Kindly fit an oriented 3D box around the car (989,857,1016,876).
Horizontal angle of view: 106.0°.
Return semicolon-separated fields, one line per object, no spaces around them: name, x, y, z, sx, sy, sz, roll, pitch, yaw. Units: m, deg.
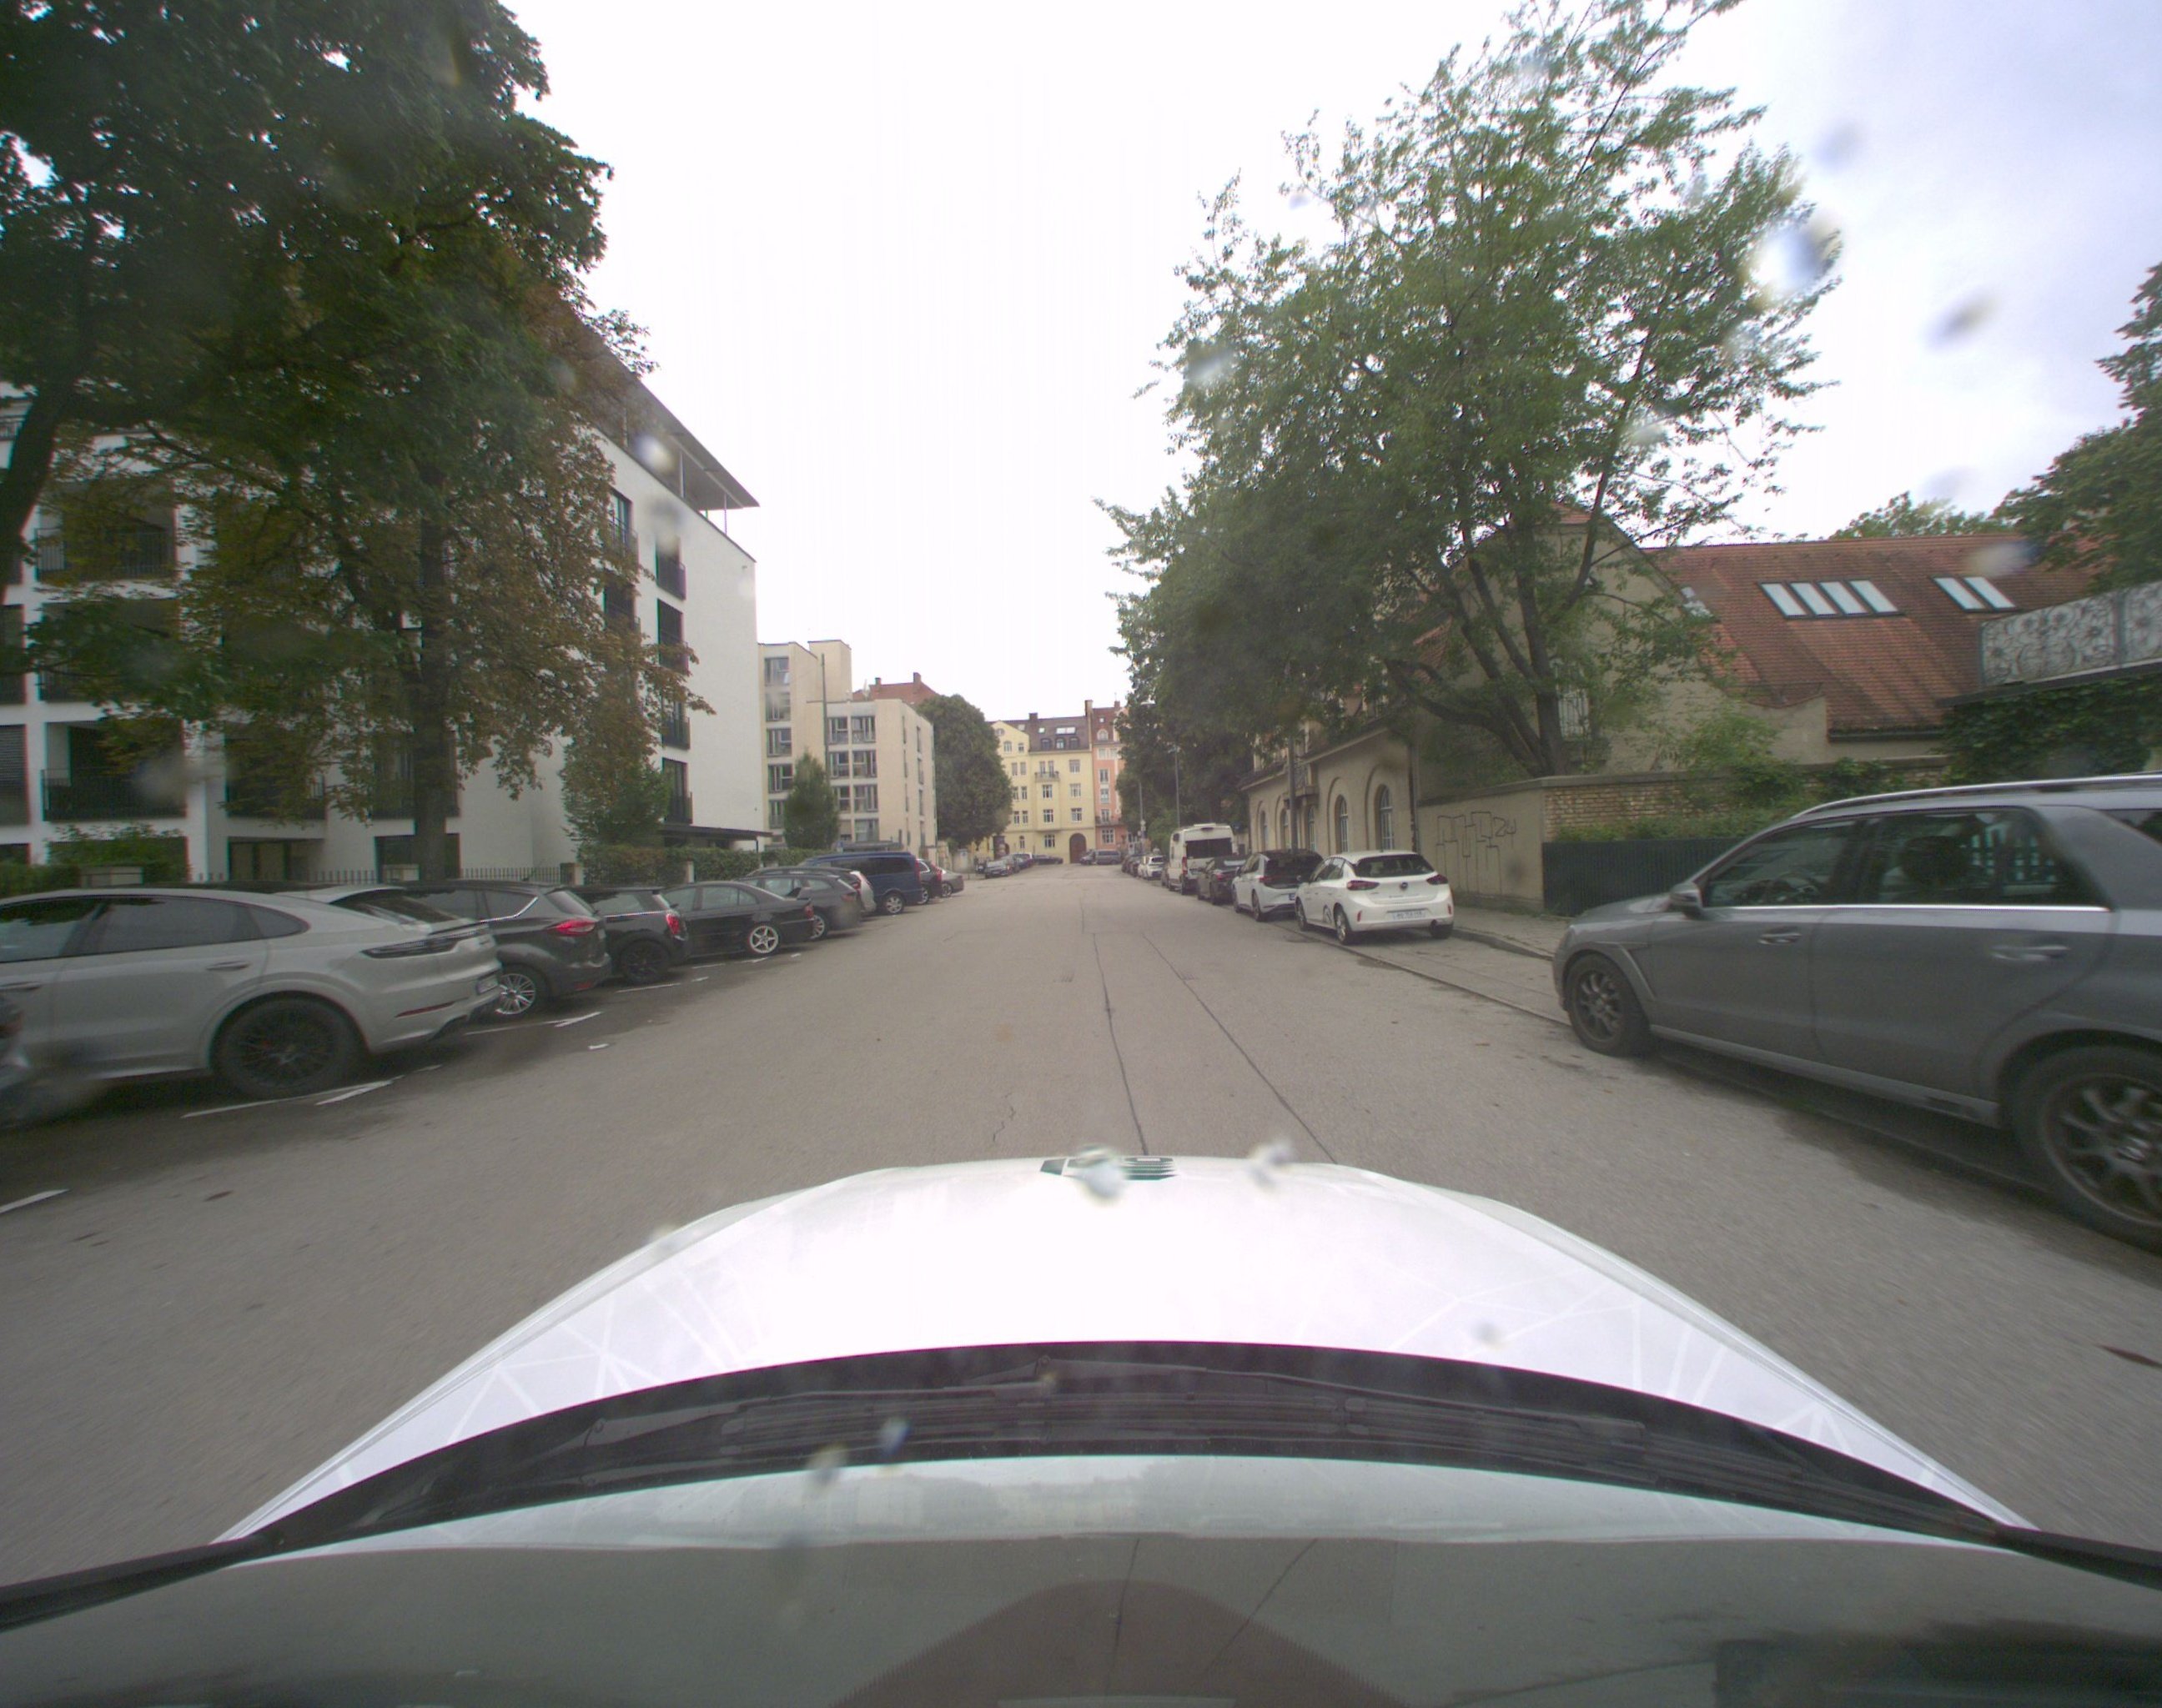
car;-7.100;1.080;73.795;1.828;1.508;4.000;-5;0;1

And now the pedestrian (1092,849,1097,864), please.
pedestrian;1.617;0.303;96.100;0.462;1.657;0.572;-2;0;-5

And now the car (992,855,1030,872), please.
car;-7.691;1.059;89.981;3.975;1.508;1.840;-5;0;-1

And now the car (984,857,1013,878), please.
car;-6.854;1.096;67.844;1.828;1.508;4.000;-5;0;1

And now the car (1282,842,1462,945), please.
car;4.842;0.607;14.151;1.679;1.441;4.000;-3;-1;1

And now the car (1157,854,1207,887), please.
car;4.704;0.741;38.352;1.702;1.369;4.128;-4;0;-1

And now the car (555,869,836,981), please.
car;-6.766;1.152;14.530;4.232;1.461;1.720;-4;0;-31

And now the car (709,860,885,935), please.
car;-7.685;1.129;22.118;4.230;1.609;1.721;-4;0;-29

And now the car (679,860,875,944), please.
car;-7.380;1.092;19.883;4.226;1.609;1.723;-4;0;-26

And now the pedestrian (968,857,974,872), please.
pedestrian;-11.976;1.159;88.598;0.569;1.657;0.465;-2;0;0

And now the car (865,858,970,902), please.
car;-7.258;1.123;36.275;4.135;1.609;1.719;-4;0;-32

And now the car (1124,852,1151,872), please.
car;4.505;0.616;64.975;1.666;1.344;3.834;-4;2;-3

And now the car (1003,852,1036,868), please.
car;-8.066;0.785;106.730;3.975;1.799;1.840;-5;0;-1

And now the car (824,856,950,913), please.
car;-7.147;1.082;30.057;4.133;1.708;1.720;-4;0;-30

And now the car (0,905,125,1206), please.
car;-7.502;1.127;3.180;4.428;1.491;1.997;-3;-1;-32

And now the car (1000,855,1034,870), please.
car;-7.965;1.022;101.941;3.975;1.508;1.840;-5;0;-1

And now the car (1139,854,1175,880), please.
car;4.661;0.763;50.305;1.702;1.408;4.128;-4;0;-1

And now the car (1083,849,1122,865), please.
car;2.634;0.353;100.067;4.691;1.880;1.839;-2;0;-2

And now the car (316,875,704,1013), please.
car;-7.769;1.150;11.651;4.224;1.461;1.779;-3;-1;-24

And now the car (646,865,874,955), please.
car;-6.703;1.115;17.310;4.220;1.461;1.725;-4;0;-21

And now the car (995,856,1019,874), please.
car;-7.133;1.063;78.693;1.828;1.508;4.000;-5;0;1

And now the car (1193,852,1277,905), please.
car;4.633;0.686;25.082;1.701;1.369;4.440;-4;0;0

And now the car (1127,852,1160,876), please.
car;4.551;0.708;59.538;1.799;1.465;3.833;-4;2;-3

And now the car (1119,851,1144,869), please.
car;4.276;0.501;69.893;1.666;1.344;3.834;-4;2;-3

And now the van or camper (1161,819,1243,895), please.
van or camper;4.596;0.109;31.949;2.185;2.550;5.726;-4;0;0

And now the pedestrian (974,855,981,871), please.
pedestrian;-11.254;0.981;88.692;0.569;1.657;0.465;-2;0;0

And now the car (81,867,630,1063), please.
car;-7.678;1.065;9.270;4.224;1.599;1.871;-3;-1;-24

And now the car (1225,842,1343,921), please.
car;4.651;0.573;19.289;1.701;1.537;4.240;-4;0;1

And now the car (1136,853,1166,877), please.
car;4.722;0.715;55.247;1.701;1.466;3.838;-4;0;1

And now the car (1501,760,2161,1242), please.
car;4.722;0.460;4.559;1.989;1.711;4.880;-4;0;-2

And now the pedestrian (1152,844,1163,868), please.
pedestrian;6.352;0.167;67.766;0.770;2.013;0.562;-2;0;-1

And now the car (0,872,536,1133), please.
car;-7.331;1.077;6.598;4.415;1.621;2.071;-3;-1;-22

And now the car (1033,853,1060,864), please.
car;-5.194;0.678;122.513;3.973;1.586;1.704;-2;0;1

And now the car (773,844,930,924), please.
car;-6.992;0.869;24.914;4.230;2.066;1.721;-4;0;-29
